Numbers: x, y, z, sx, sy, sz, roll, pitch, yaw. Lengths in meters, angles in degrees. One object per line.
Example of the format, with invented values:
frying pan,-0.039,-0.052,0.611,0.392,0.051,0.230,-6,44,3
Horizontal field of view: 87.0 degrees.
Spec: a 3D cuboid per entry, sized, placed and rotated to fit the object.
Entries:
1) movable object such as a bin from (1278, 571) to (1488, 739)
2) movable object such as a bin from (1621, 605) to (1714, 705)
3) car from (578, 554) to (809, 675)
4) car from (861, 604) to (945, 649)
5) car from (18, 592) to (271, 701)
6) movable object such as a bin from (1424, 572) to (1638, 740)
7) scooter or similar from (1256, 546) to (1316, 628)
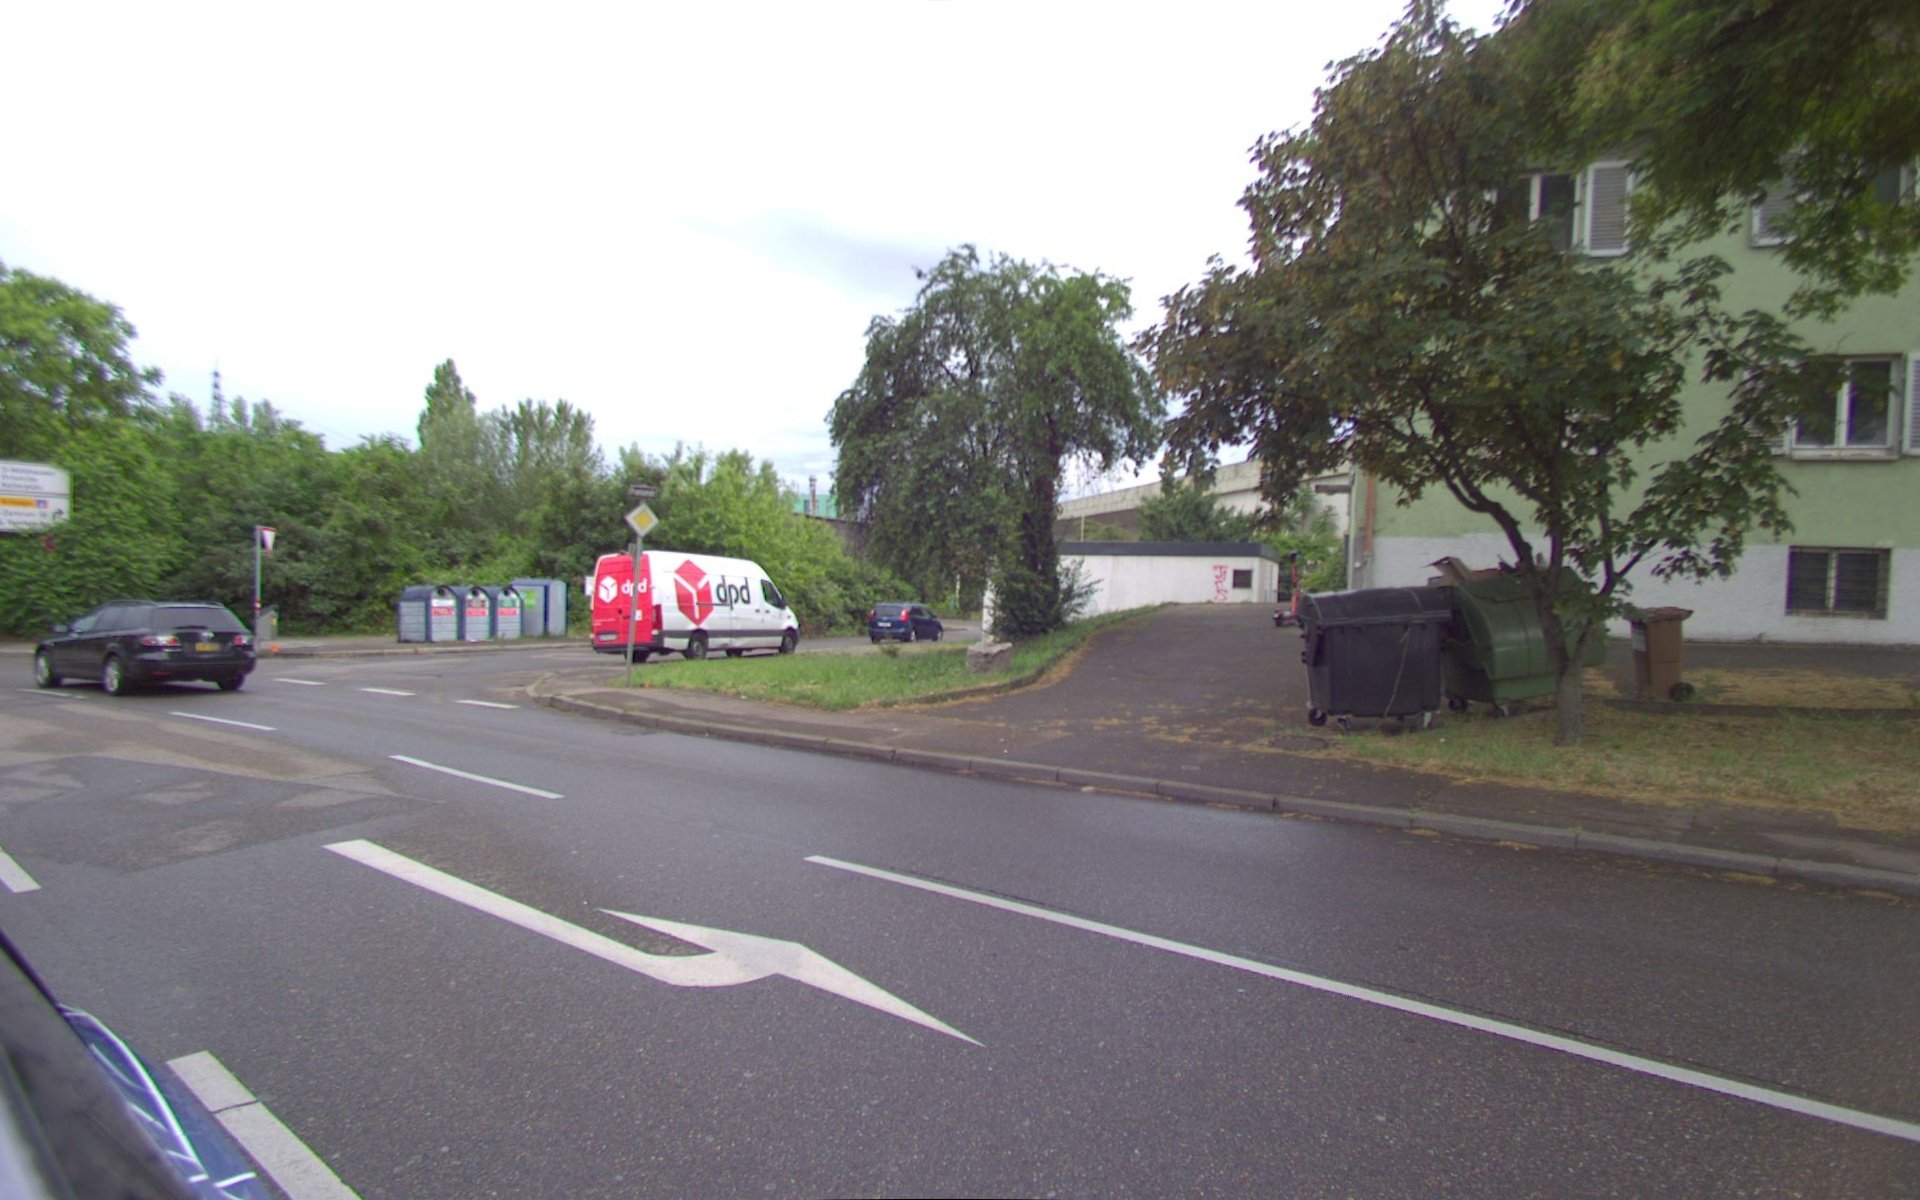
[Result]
movable object such as a bin,4.260,0.505,10.318,1.440,1.448,1.296,-5,3,-6
movable object such as a bin,7.217,0.537,10.323,0.723,0.964,0.551,1,0,41
car,-6.497,0.300,25.897,2.246,2.675,6.777,1,0,20
car,-2.214,0.994,40.387,1.984,1.642,4.228,1,1,18
car,-13.465,0.695,16.657,4.395,1.581,1.829,0,-1,31
movable object such as a bin,5.715,0.514,10.209,1.440,1.448,1.102,-5,3,-6
scooter or similar,5.537,-0.238,17.123,0.529,1.283,1.507,1,4,35
